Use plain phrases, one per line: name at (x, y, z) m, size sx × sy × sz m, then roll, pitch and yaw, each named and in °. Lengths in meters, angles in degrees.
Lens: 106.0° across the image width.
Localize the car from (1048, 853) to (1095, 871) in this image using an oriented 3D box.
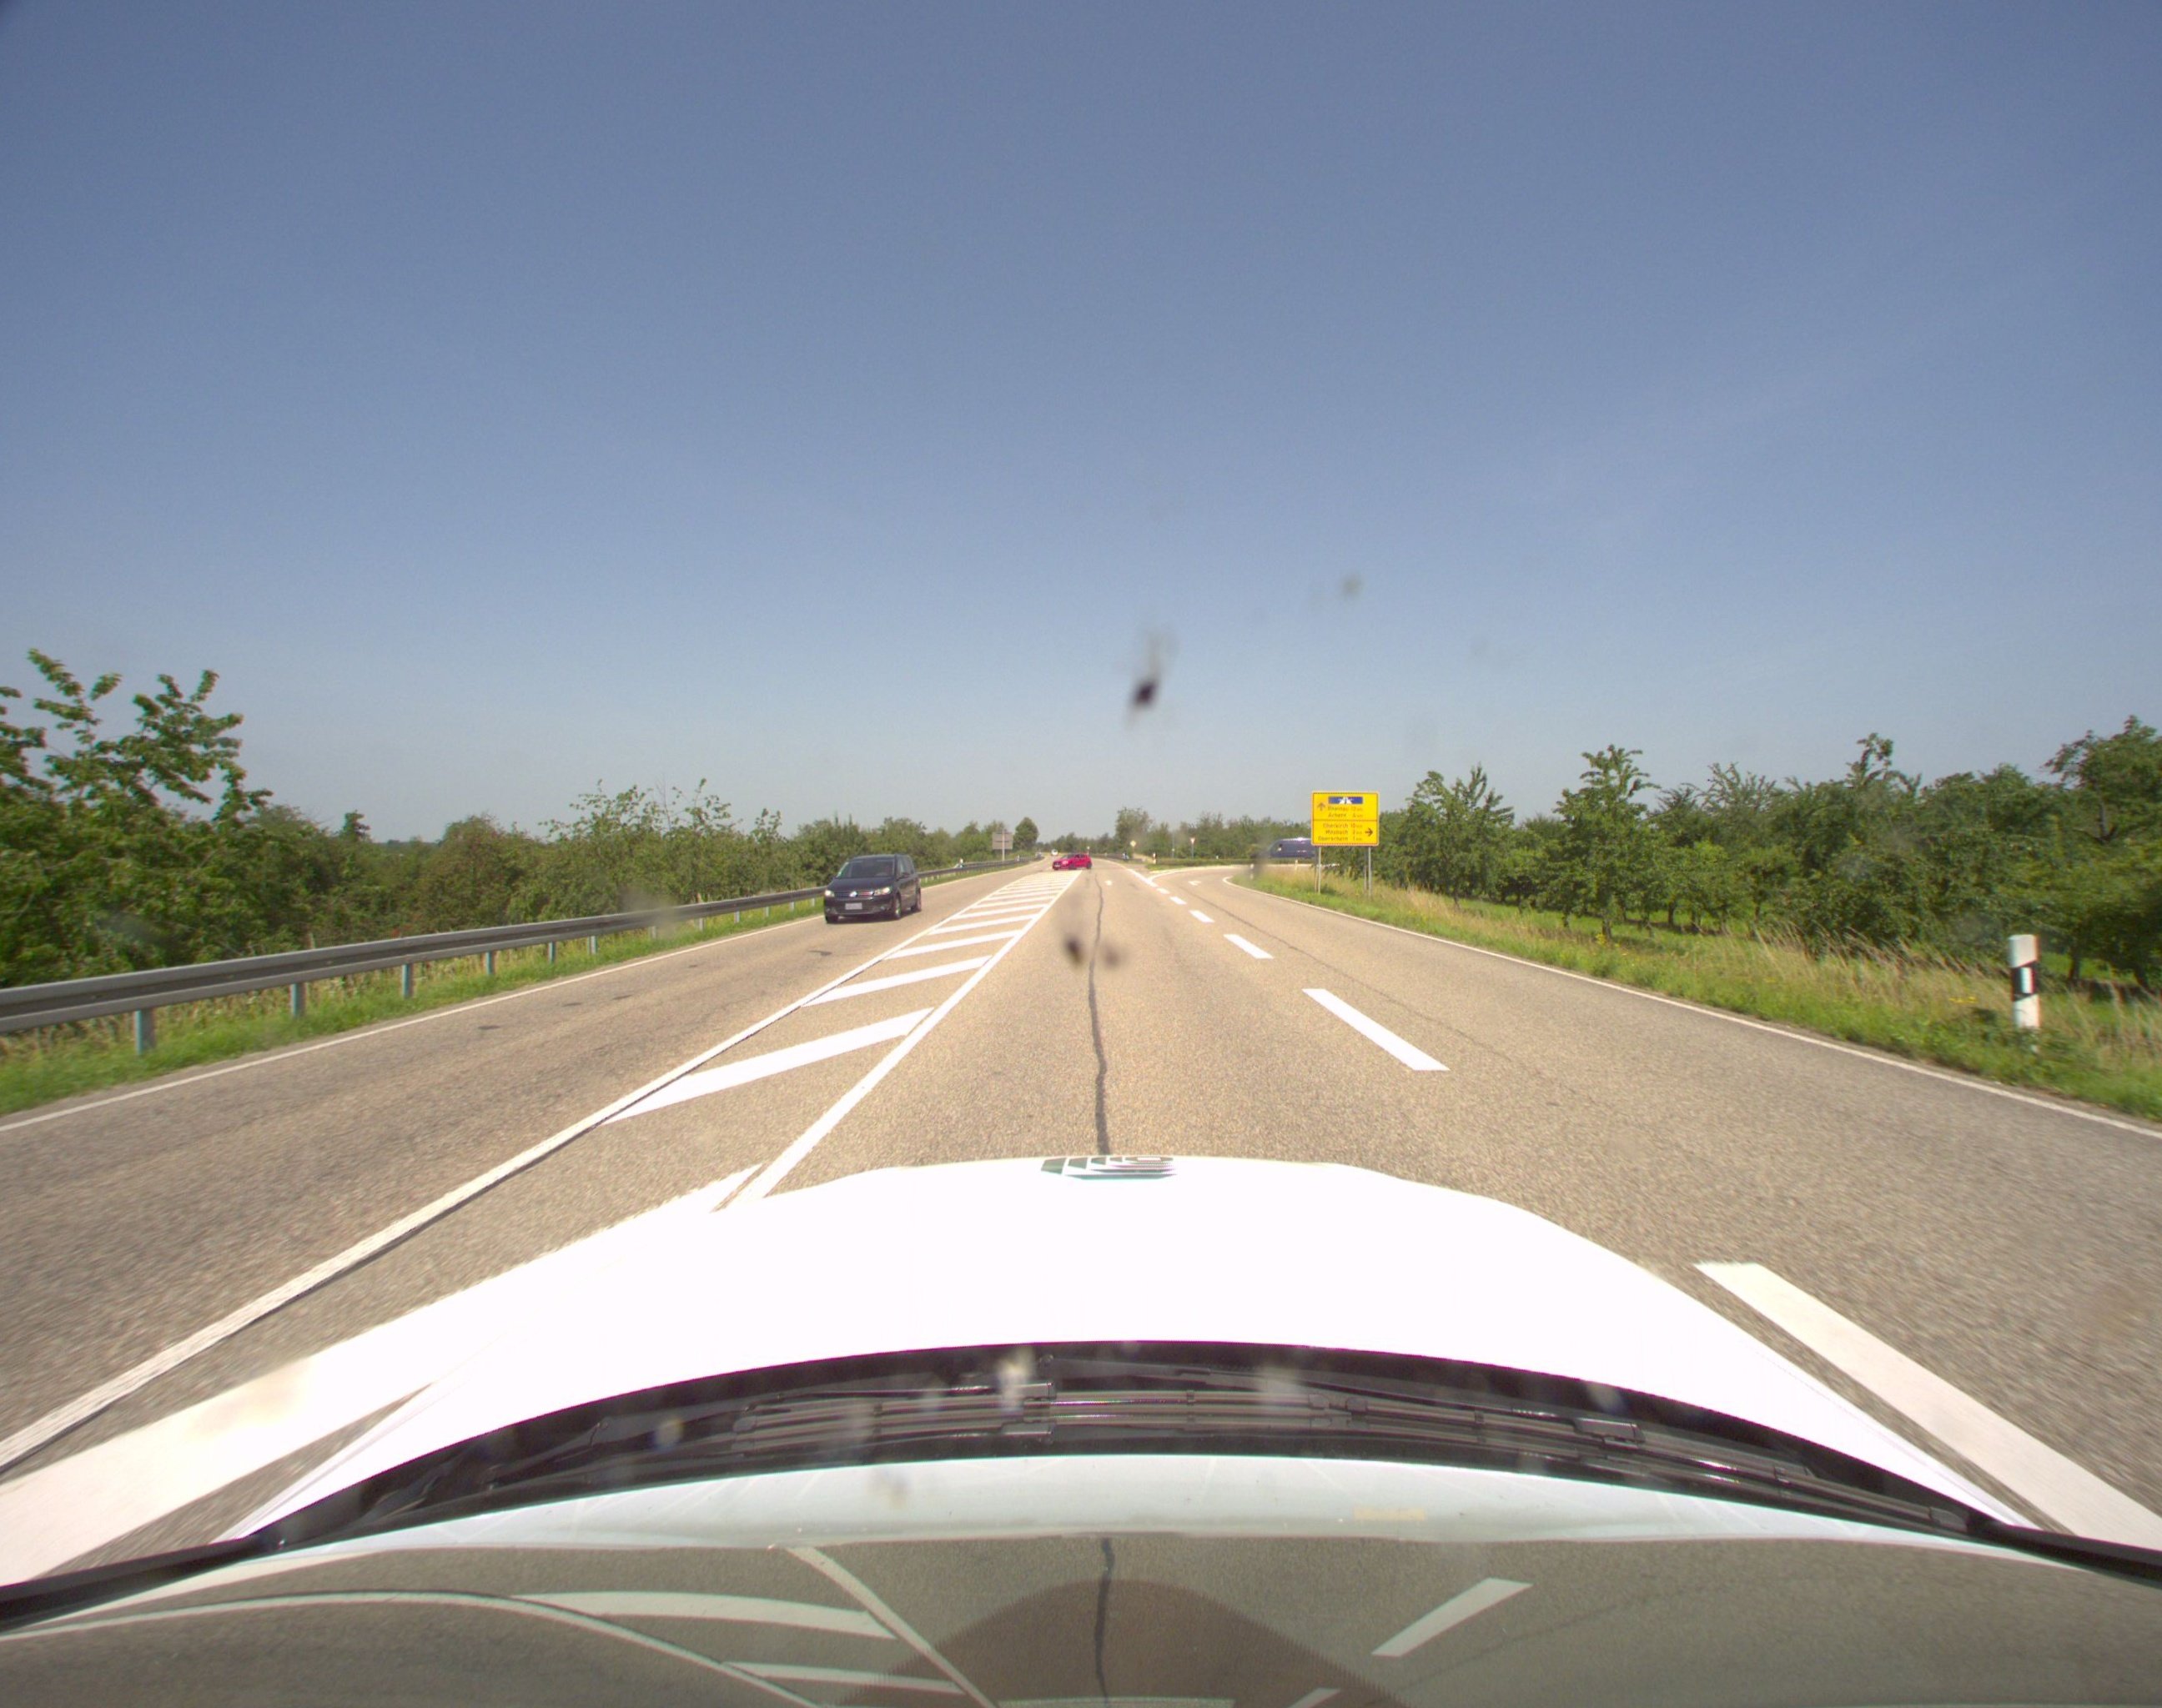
car at (-0.799, 0.690, 71.489) m, size 1.798 × 1.449 × 4.524 m, roll -2°, pitch 0°, yaw 35°

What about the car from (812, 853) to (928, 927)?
car at (-5.274, 0.828, 21.010) m, size 1.798 × 1.637 × 4.807 m, roll -1°, pitch 0°, yaw -1°

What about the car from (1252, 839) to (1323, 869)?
car at (19.695, -0.005, 77.960) m, size 6.257 × 2.575 × 2.066 m, roll -2°, pitch -1°, yaw 7°
